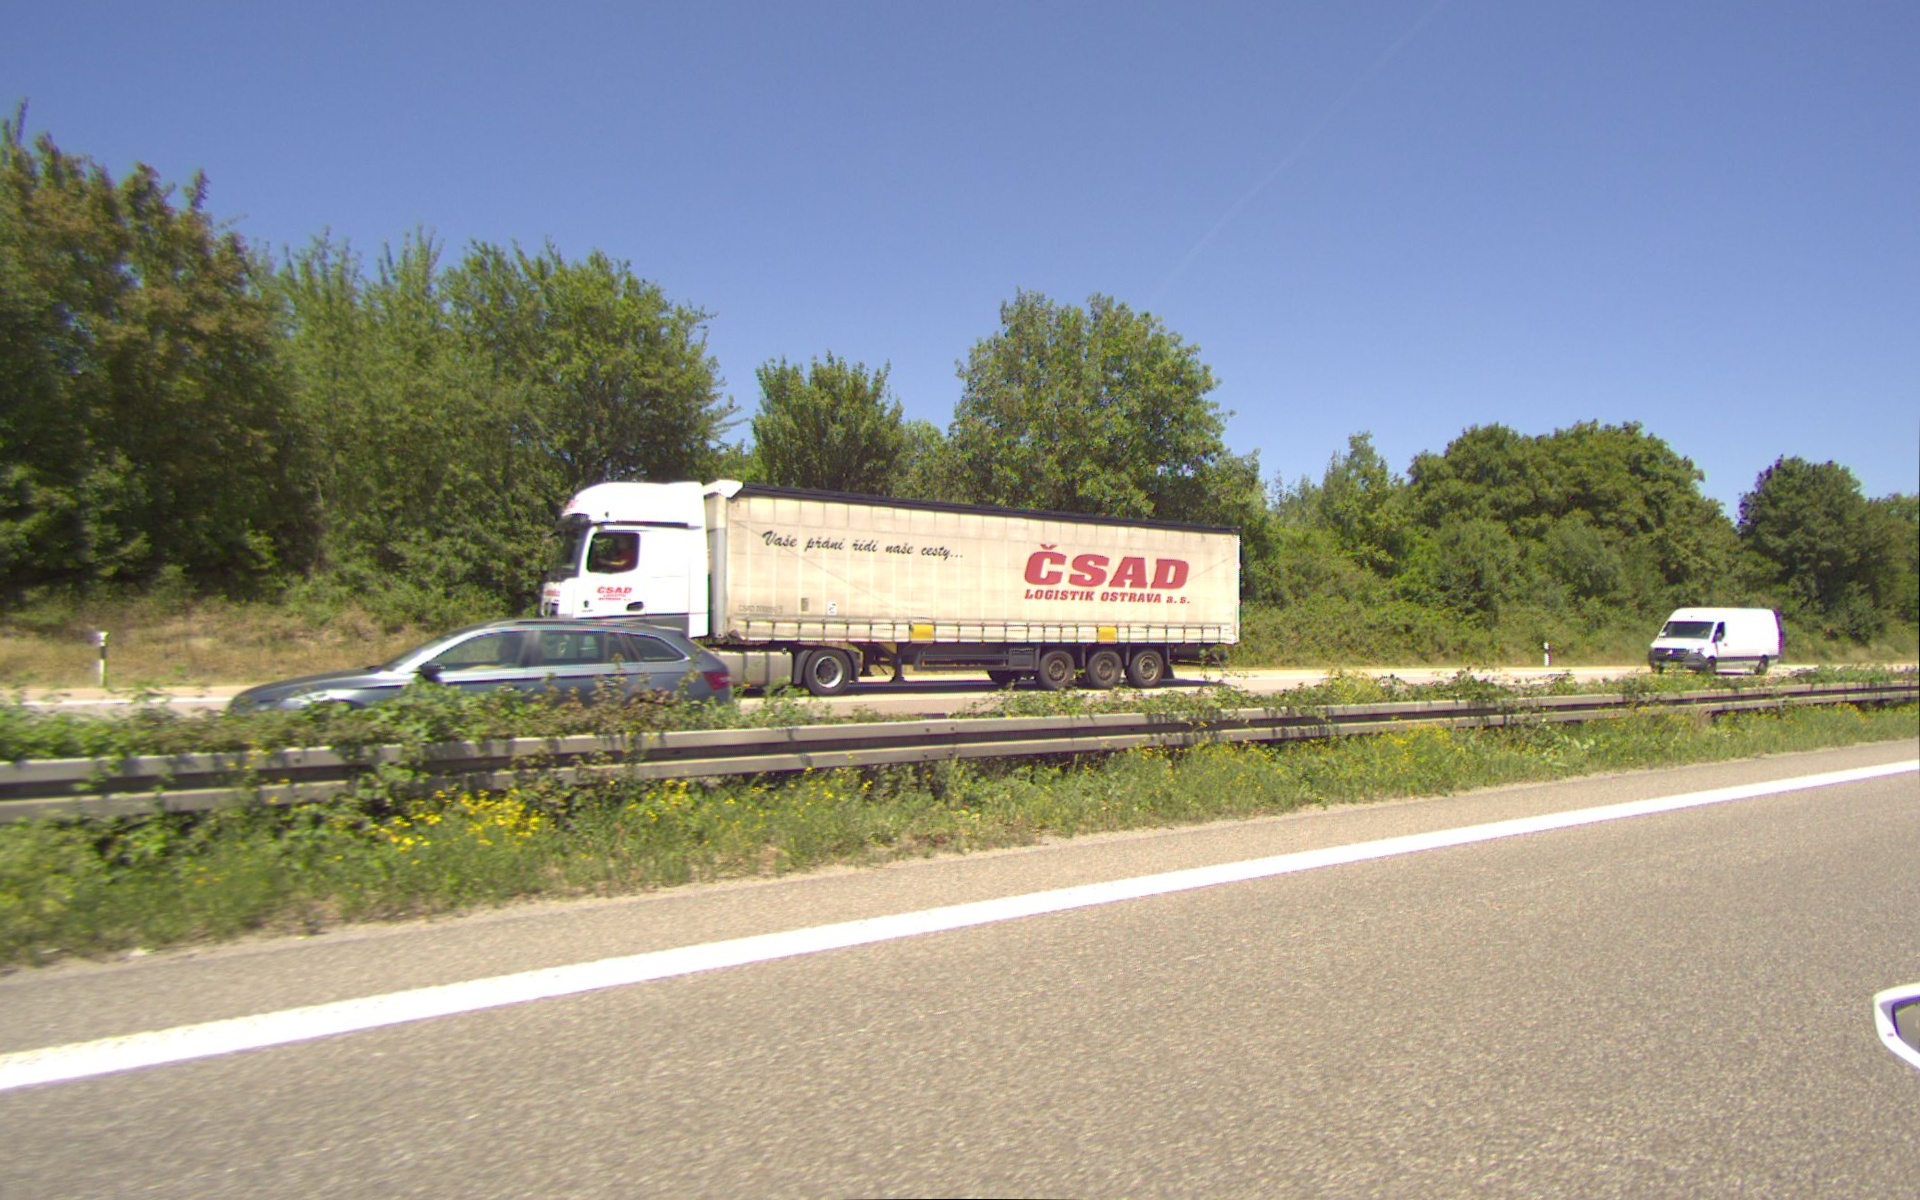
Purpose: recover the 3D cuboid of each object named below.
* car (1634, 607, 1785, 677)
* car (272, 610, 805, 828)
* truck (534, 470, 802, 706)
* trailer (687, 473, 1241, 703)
[{"bbox_3d":[30.133,1.698,40.294,7.305,2.610,2.218,2,-2,-30],"label":"car"},{"bbox_3d":[-4.341,1.126,10.831,4.900,1.886,1.984,2,-2,-31],"label":"car"},{"bbox_3d":[-5.631,-0.112,19.348,4.392,4.017,2.689,2,-2,-31],"label":"truck"},{"bbox_3d":[0.764,0.000,23.237,13.405,4.239,2.692,2,-2,-31],"label":"trailer"}]
